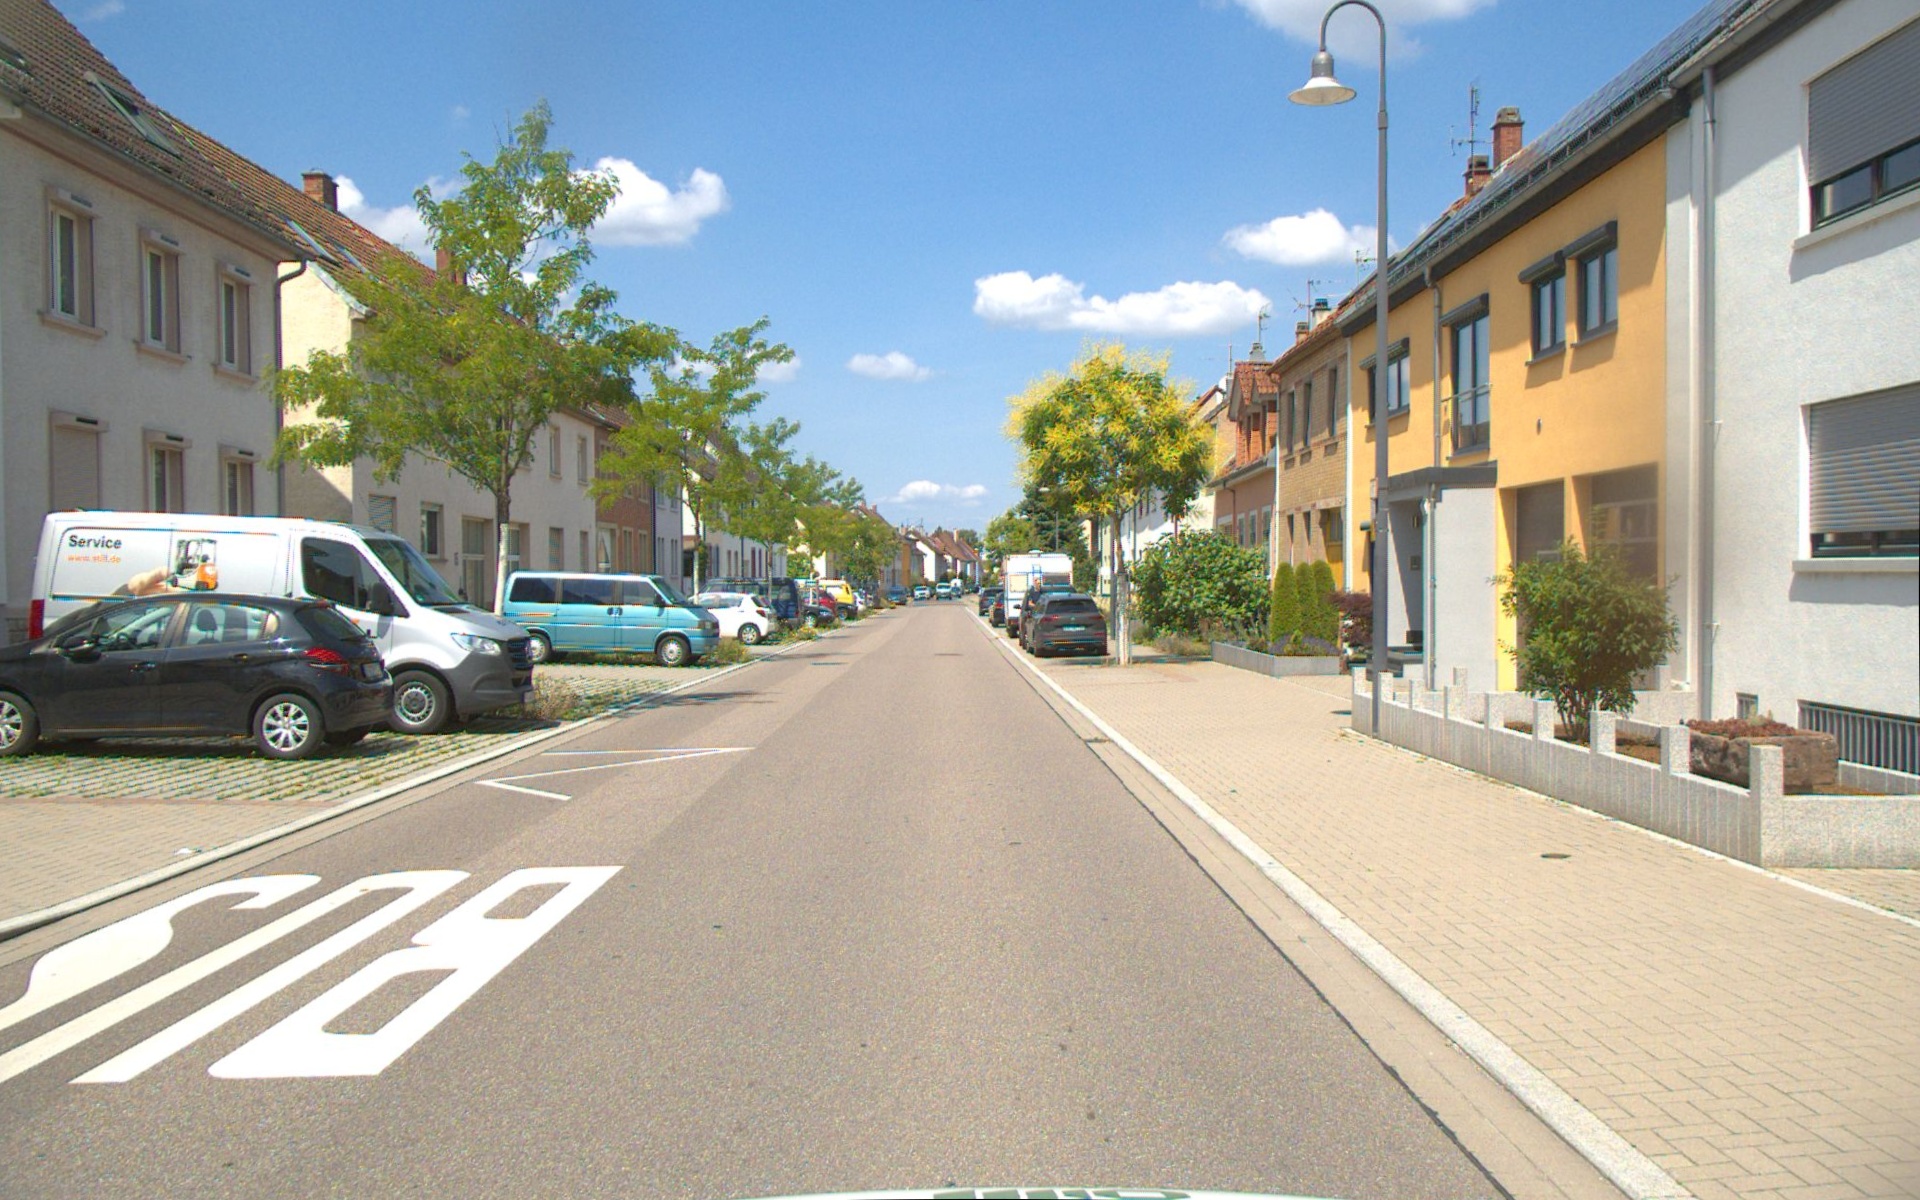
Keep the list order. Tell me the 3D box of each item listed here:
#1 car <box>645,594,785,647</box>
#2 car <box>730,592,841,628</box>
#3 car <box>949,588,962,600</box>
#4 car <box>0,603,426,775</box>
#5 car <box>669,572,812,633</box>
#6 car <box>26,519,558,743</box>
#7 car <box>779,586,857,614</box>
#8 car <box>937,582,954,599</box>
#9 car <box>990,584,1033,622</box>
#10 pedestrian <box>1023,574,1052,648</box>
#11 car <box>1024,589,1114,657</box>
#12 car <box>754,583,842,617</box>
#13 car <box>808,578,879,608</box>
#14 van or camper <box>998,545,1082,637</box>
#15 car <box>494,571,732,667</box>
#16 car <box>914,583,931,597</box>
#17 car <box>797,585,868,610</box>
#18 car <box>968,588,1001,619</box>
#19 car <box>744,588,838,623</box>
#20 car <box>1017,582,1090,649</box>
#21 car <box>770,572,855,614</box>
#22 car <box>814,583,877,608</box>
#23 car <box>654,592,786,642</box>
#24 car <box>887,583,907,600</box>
[{"bbox_3d":[-7.183,0.589,48.822,3.835,1.514,1.773,0,0,1],"label":"car"},{"bbox_3d":[-7.192,0.419,68.451,4.432,1.450,1.795,0,0,-1],"label":"car"},{"bbox_3d":[-0.609,-0.871,229.457,1.727,1.549,4.048,-3,1,-1],"label":"car"},{"bbox_3d":[-7.310,0.797,15.656,3.907,1.471,1.900,-1,0,-3],"label":"car"},{"bbox_3d":[-7.394,0.062,56.027,4.517,2.031,1.953,0,0,1],"label":"car"},{"bbox_3d":[-7.286,0.329,18.517,5.062,2.328,2.156,0,0,-3],"label":"car"},{"bbox_3d":[-7.438,0.001,86.997,3.928,1.485,1.755,0,0,-1],"label":"car"},{"bbox_3d":[-1.781,-1.128,200.808,1.982,1.984,4.897,-1,0,-1],"label":"car"},{"bbox_3d":[2.174,0.101,70.755,1.730,1.556,4.007,-1,0,0],"label":"car"},{"bbox_3d":[1.994,0.287,42.701,0.702,1.885,0.578,-1,0,0],"label":"pedestrian"},{"bbox_3d":[2.569,0.519,39.913,1.731,1.514,4.295,-1,0,-2],"label":"car"},{"bbox_3d":[-7.979,-0.008,81.551,4.167,1.639,1.842,0,0,-1],"label":"car"},{"bbox_3d":[-7.842,-0.467,111.595,4.604,1.957,1.937,0,0,-1],"label":"car"},{"bbox_3d":[2.650,-0.330,56.085,2.423,2.859,5.790,-2,1,-1],"label":"van or camper"},{"bbox_3d":[-7.253,0.392,34.932,4.581,1.940,2.000,0,0,0],"label":"car"},{"bbox_3d":[-4.653,-1.214,205.645,1.811,1.688,4.001,1,0,2],"label":"car"},{"bbox_3d":[-7.838,-0.153,102.009,4.206,1.493,1.774,0,0,1],"label":"car"},{"bbox_3d":[1.465,0.191,97.988,1.826,1.663,4.448,-3,1,2],"label":"car"},{"bbox_3d":[-7.351,0.216,72.107,3.973,1.503,1.775,0,0,-3],"label":"car"},{"bbox_3d":[2.522,0.391,45.378,1.730,1.734,4.325,-1,0,0],"label":"car"},{"bbox_3d":[-7.958,-0.381,89.431,4.416,2.215,1.925,0,0,-1],"label":"car"},{"bbox_3d":[-7.538,-0.263,108.891,4.100,1.596,1.772,0,0,-4],"label":"car"},{"bbox_3d":[-7.489,0.525,51.758,3.835,1.514,1.773,0,0,1],"label":"car"},{"bbox_3d":[-5.979,-0.795,156.720,1.780,1.458,4.138,3,2,-3],"label":"car"}]
